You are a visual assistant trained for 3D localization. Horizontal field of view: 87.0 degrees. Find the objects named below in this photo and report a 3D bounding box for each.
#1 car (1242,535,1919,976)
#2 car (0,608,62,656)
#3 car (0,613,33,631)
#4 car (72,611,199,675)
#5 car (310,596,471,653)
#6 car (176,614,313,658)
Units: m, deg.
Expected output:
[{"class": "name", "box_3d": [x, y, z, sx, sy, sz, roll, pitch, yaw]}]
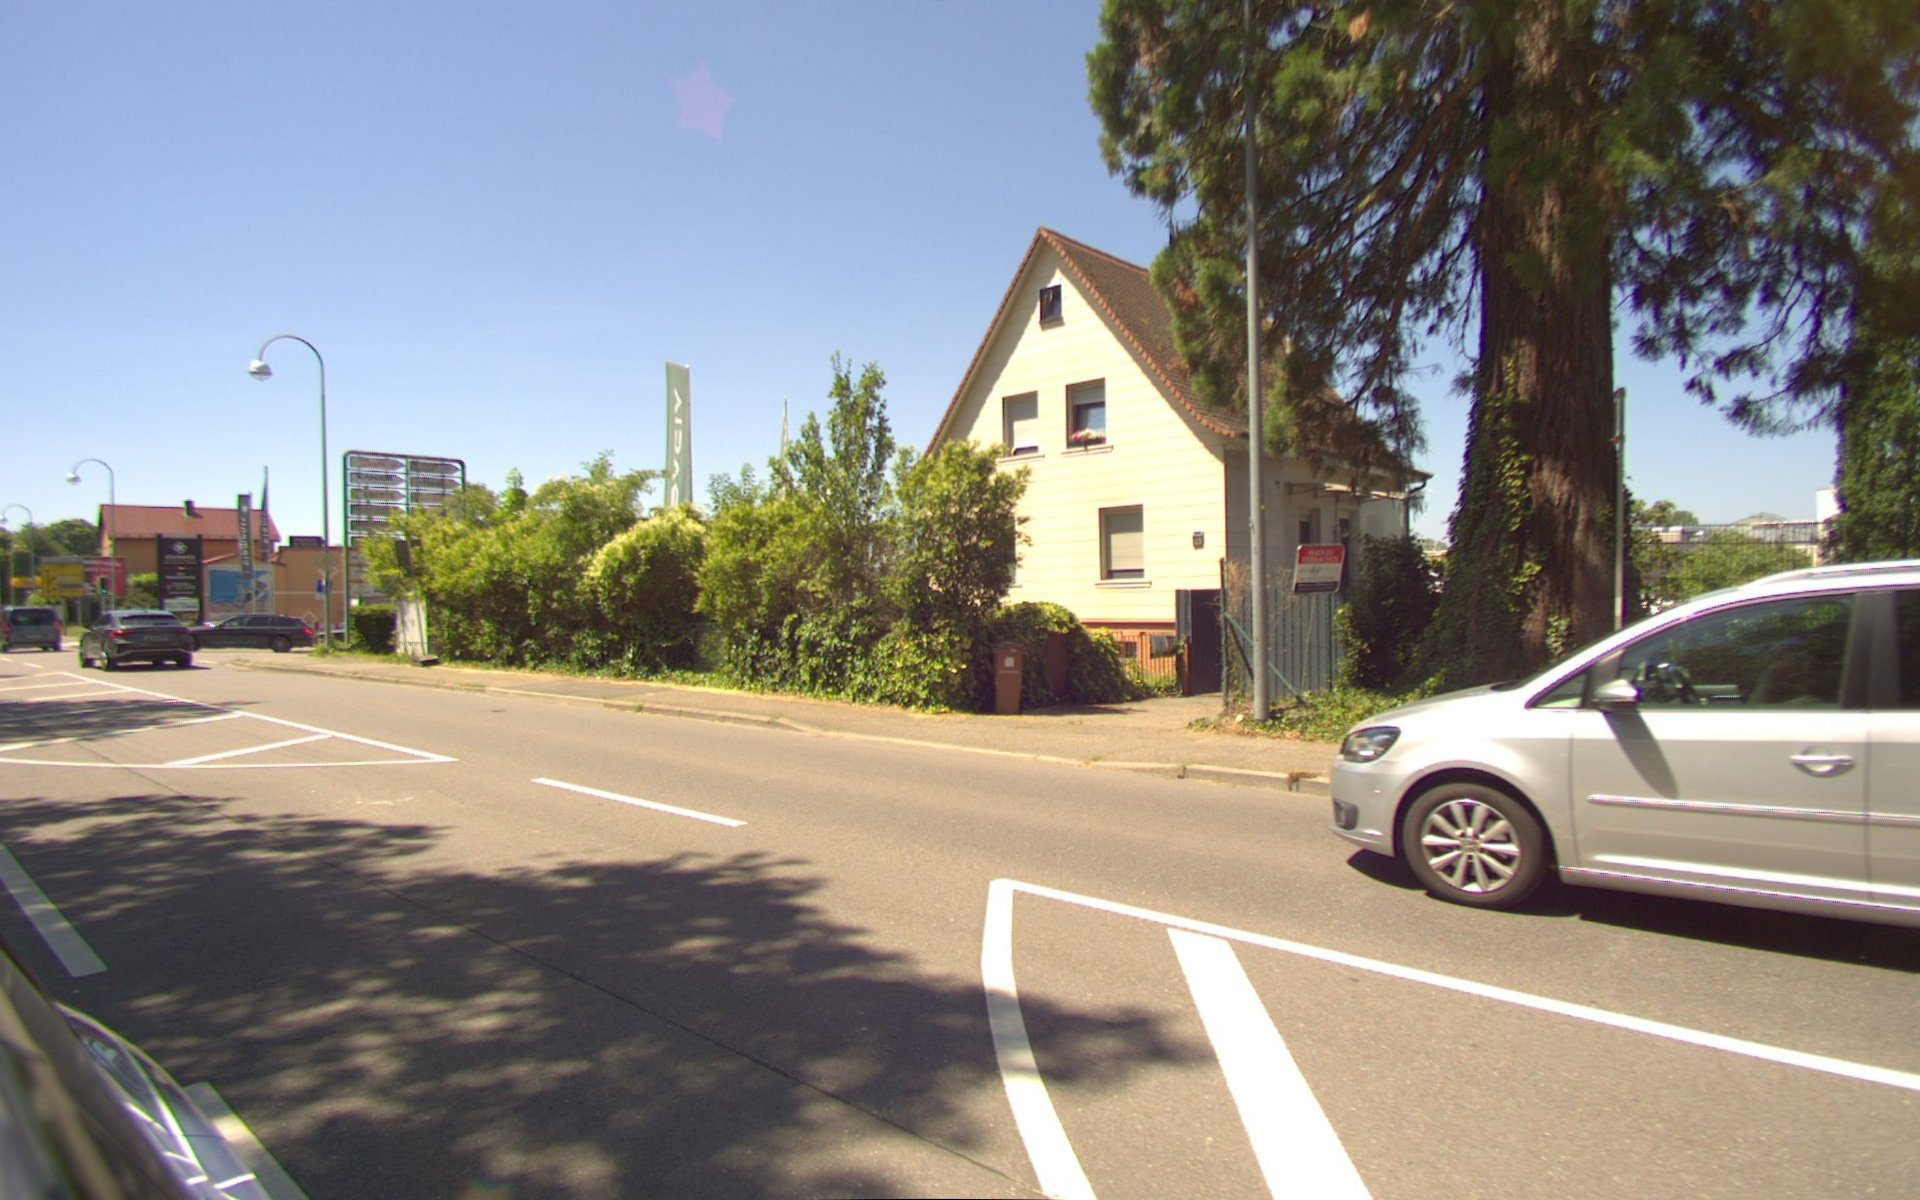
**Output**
[{"class": "car", "box_3d": [3.901, 0.600, 4.716, 4.684, 1.657, 1.765, -1, -1, 39]}, {"class": "car", "box_3d": [-36.706, 1.233, 39.650, 4.320, 1.754, 1.859, -1, 0, 42]}, {"class": "car", "box_3d": [-82.363, 1.900, 87.679, 1.965, 1.431, 4.013, -2, 1, -27]}, {"class": "car", "box_3d": [-22.228, 1.106, 27.219, 4.317, 1.561, 1.860, -1, 0, 40]}, {"class": "car", "box_3d": [-24.070, 0.995, 42.915, 5.627, 2.145, 2.178, -2, 1, -40]}, {"class": "car", "box_3d": [-28.066, 1.388, 39.872, 4.247, 1.561, 1.891, -1, 0, -31]}]
